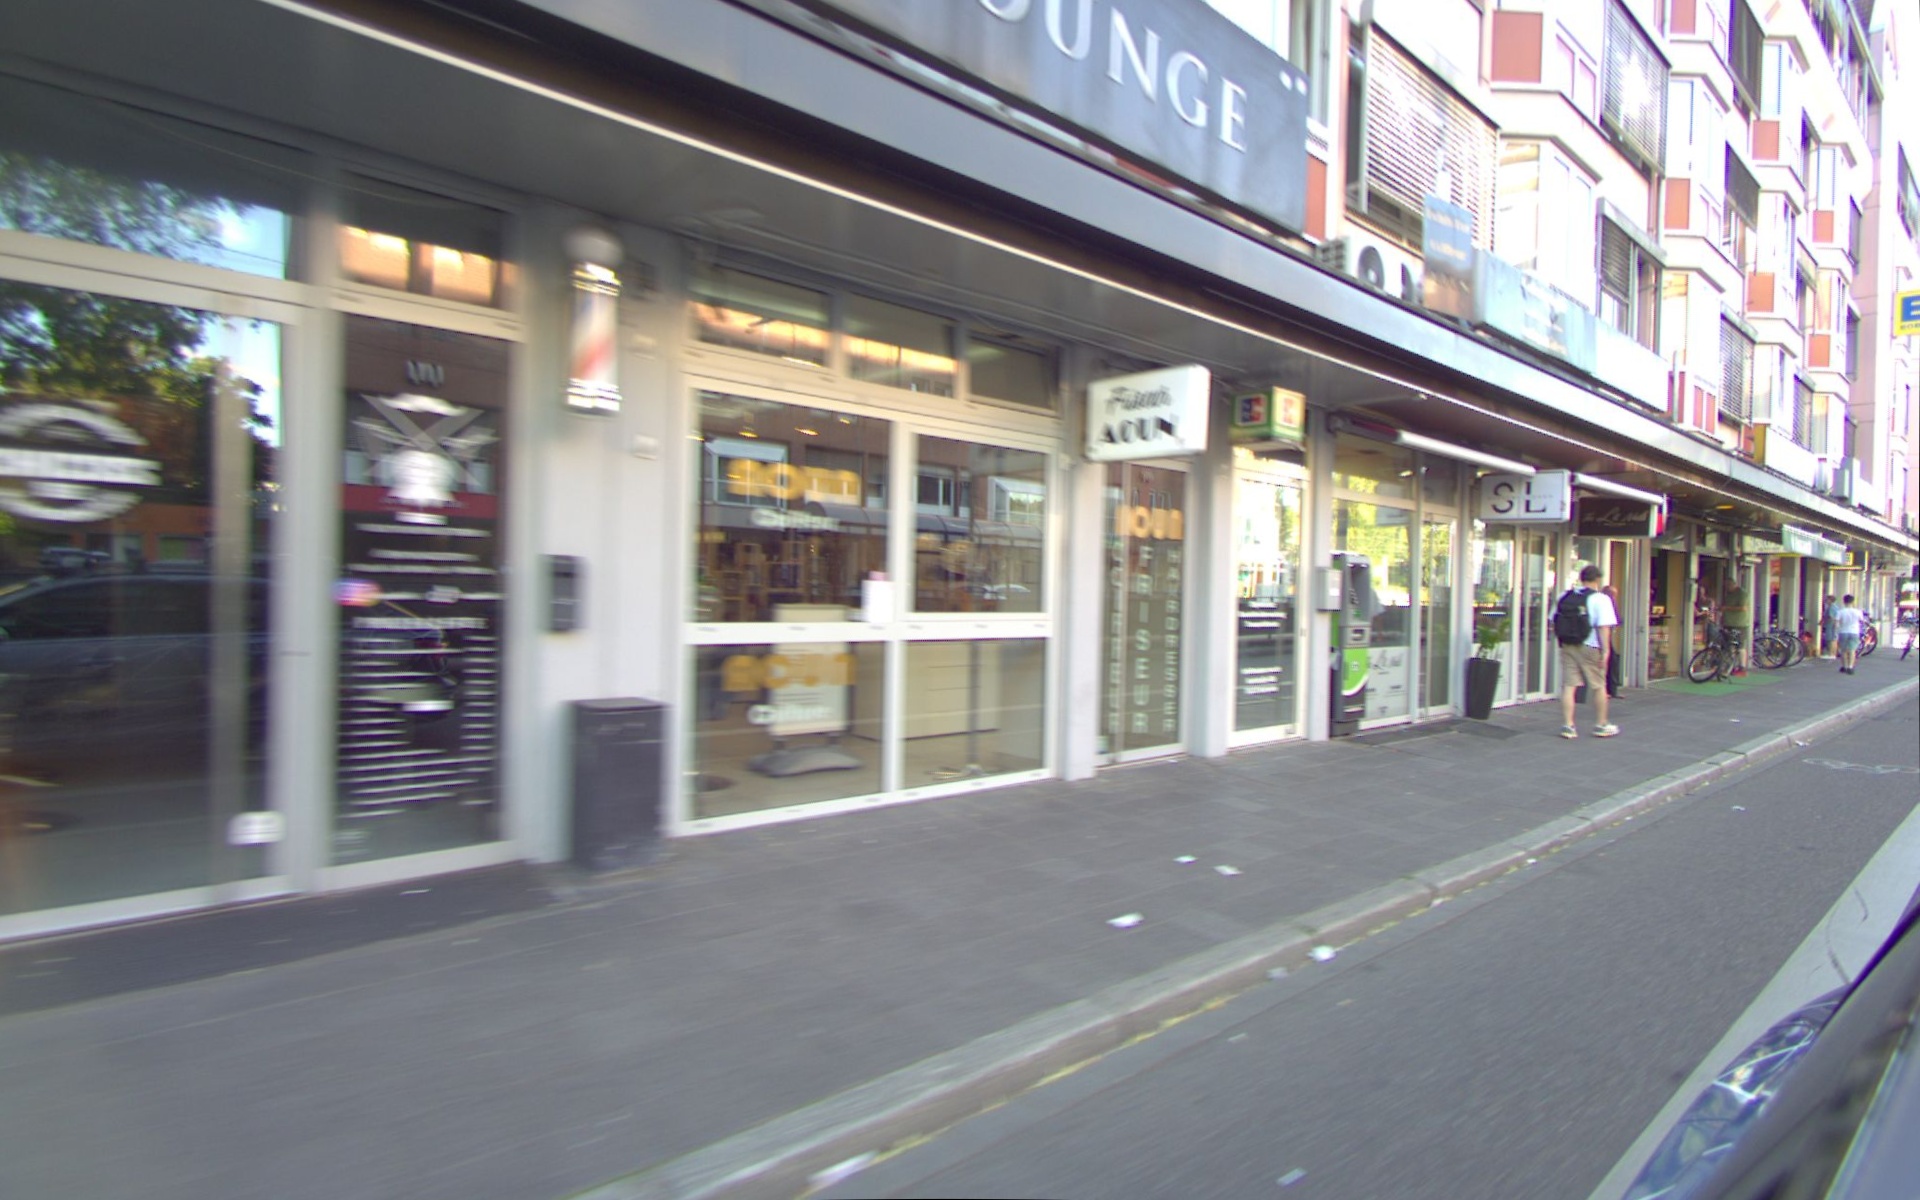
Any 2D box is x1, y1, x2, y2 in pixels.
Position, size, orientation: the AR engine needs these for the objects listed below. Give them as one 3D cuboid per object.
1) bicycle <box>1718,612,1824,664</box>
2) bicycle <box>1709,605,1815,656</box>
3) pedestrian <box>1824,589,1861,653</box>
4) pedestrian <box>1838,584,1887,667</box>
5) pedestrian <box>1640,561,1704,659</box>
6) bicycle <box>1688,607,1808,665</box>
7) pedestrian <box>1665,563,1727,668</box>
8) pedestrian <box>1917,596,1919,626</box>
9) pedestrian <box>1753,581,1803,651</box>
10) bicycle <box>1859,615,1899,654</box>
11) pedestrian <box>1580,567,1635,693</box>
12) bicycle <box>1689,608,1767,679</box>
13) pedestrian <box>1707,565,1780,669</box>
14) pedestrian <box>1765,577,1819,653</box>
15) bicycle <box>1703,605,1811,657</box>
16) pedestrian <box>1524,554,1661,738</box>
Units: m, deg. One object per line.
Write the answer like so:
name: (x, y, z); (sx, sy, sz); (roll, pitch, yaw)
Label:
bicycle: (18.070, 0.825, 22.587); (0.496, 0.985, 1.737); (1, 4, -36)
bicycle: (19.480, 0.717, 24.609); (0.567, 1.073, 1.926); (1, 3, -43)
pedestrian: (22.852, 0.545, 26.212); (0.451, 1.614, 0.409); (3, 3, -13)
pedestrian: (19.182, 0.524, 21.512); (0.758, 1.694, 0.633); (0, 2, -41)
pedestrian: (14.201, 0.175, 20.204); (0.769, 1.889, 0.684); (3, 2, 18)
bicycle: (16.966, 0.746, 21.822); (0.566, 1.073, 1.928); (1, 3, -41)
pedestrian: (13.775, 0.269, 18.964); (0.773, 1.889, 0.680); (3, 2, 29)
pedestrian: (67.007, 0.770, 70.182); (0.742, 2.039, 1.057); (-1, -1, 36)
pedestrian: (20.405, 0.376, 25.250); (0.902, 1.684, 0.778); (0, 3, -44)
bicycle: (26.404, 0.973, 29.067); (1.813, 0.988, 0.677); (0, 6, -45)
pedestrian: (9.009, 0.399, 14.079); (0.540, 1.694, 0.462); (3, 2, 40)
bicycle: (13.208, 0.717, 17.388); (1.764, 1.079, 0.659); (0, 5, -42)
pedestrian: (14.841, 0.301, 19.165); (0.766, 1.889, 0.915); (0, 3, -44)
pedestrian: (20.878, 0.365, 25.408); (0.721, 1.839, 0.804); (1, 0, 12)
bicycle: (19.008, 0.725, 24.163); (0.567, 1.073, 1.926); (1, 3, -43)
pedestrian: (6.492, 0.427, 10.389); (1.042, 1.743, 0.800); (0, 4, -40)
